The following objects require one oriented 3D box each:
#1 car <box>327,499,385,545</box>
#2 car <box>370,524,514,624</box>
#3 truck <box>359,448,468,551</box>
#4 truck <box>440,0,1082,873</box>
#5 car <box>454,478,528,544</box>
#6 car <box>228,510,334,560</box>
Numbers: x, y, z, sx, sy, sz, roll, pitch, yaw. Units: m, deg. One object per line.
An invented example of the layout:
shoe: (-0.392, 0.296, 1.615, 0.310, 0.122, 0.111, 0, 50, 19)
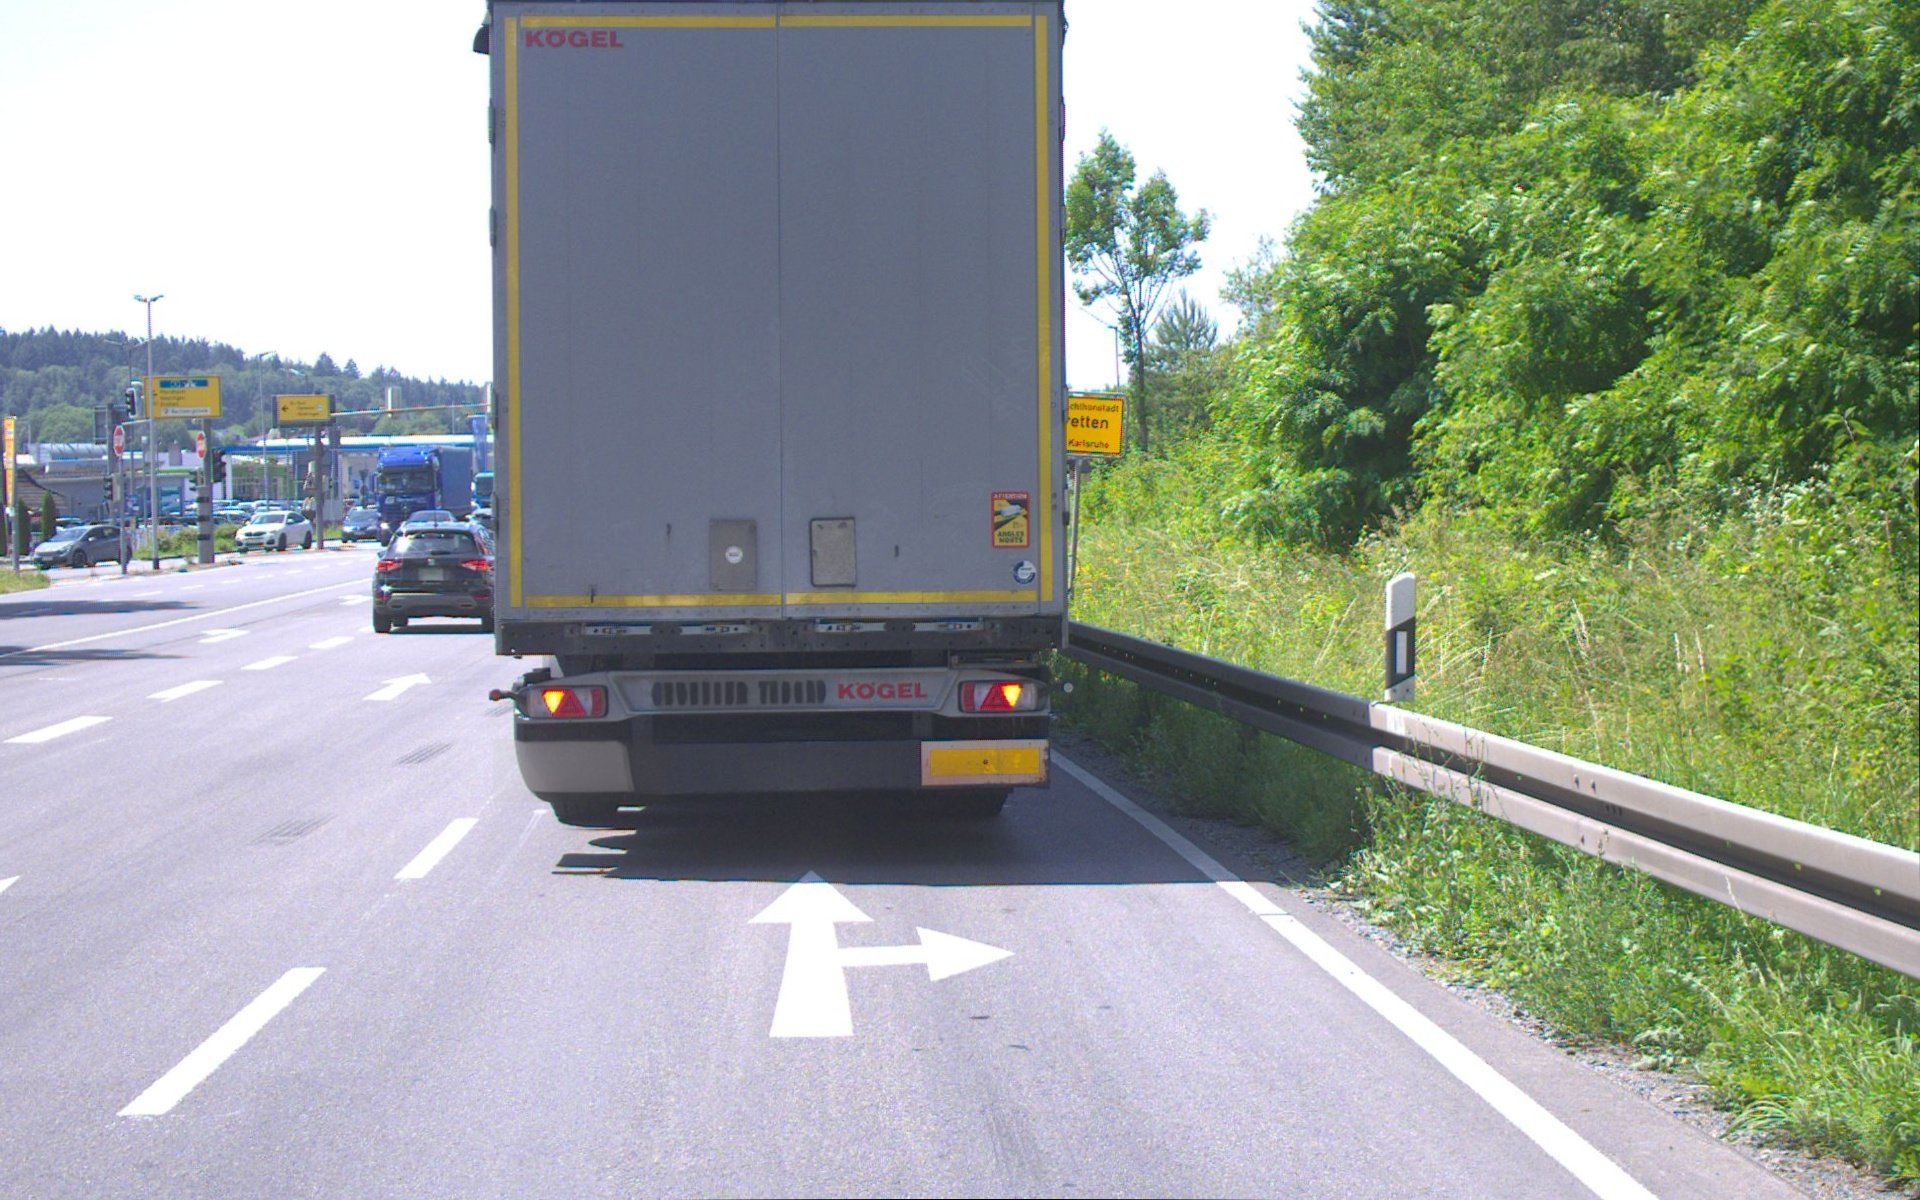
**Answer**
car: (-27.165, -3.501, 154.733, 1.993, 2.007, 4.000, 1, 1, -2)
car: (-7.238, -0.364, 48.262, 1.528, 1.336, 3.330, 1, 1, -1)
truck: (-23.386, -4.289, 147.914, 2.968, 4.162, 16.577, -1, 1, -3)
truck: (-1.215, -1.219, 23.358, 2.755, 4.623, 16.657, 1, 1, -2)
car: (-14.627, -2.776, 107.392, 1.993, 2.007, 4.001, 1, 1, -3)
car: (-27.624, -2.678, 139.987, 1.997, 2.007, 3.993, 1, 2, 33)
